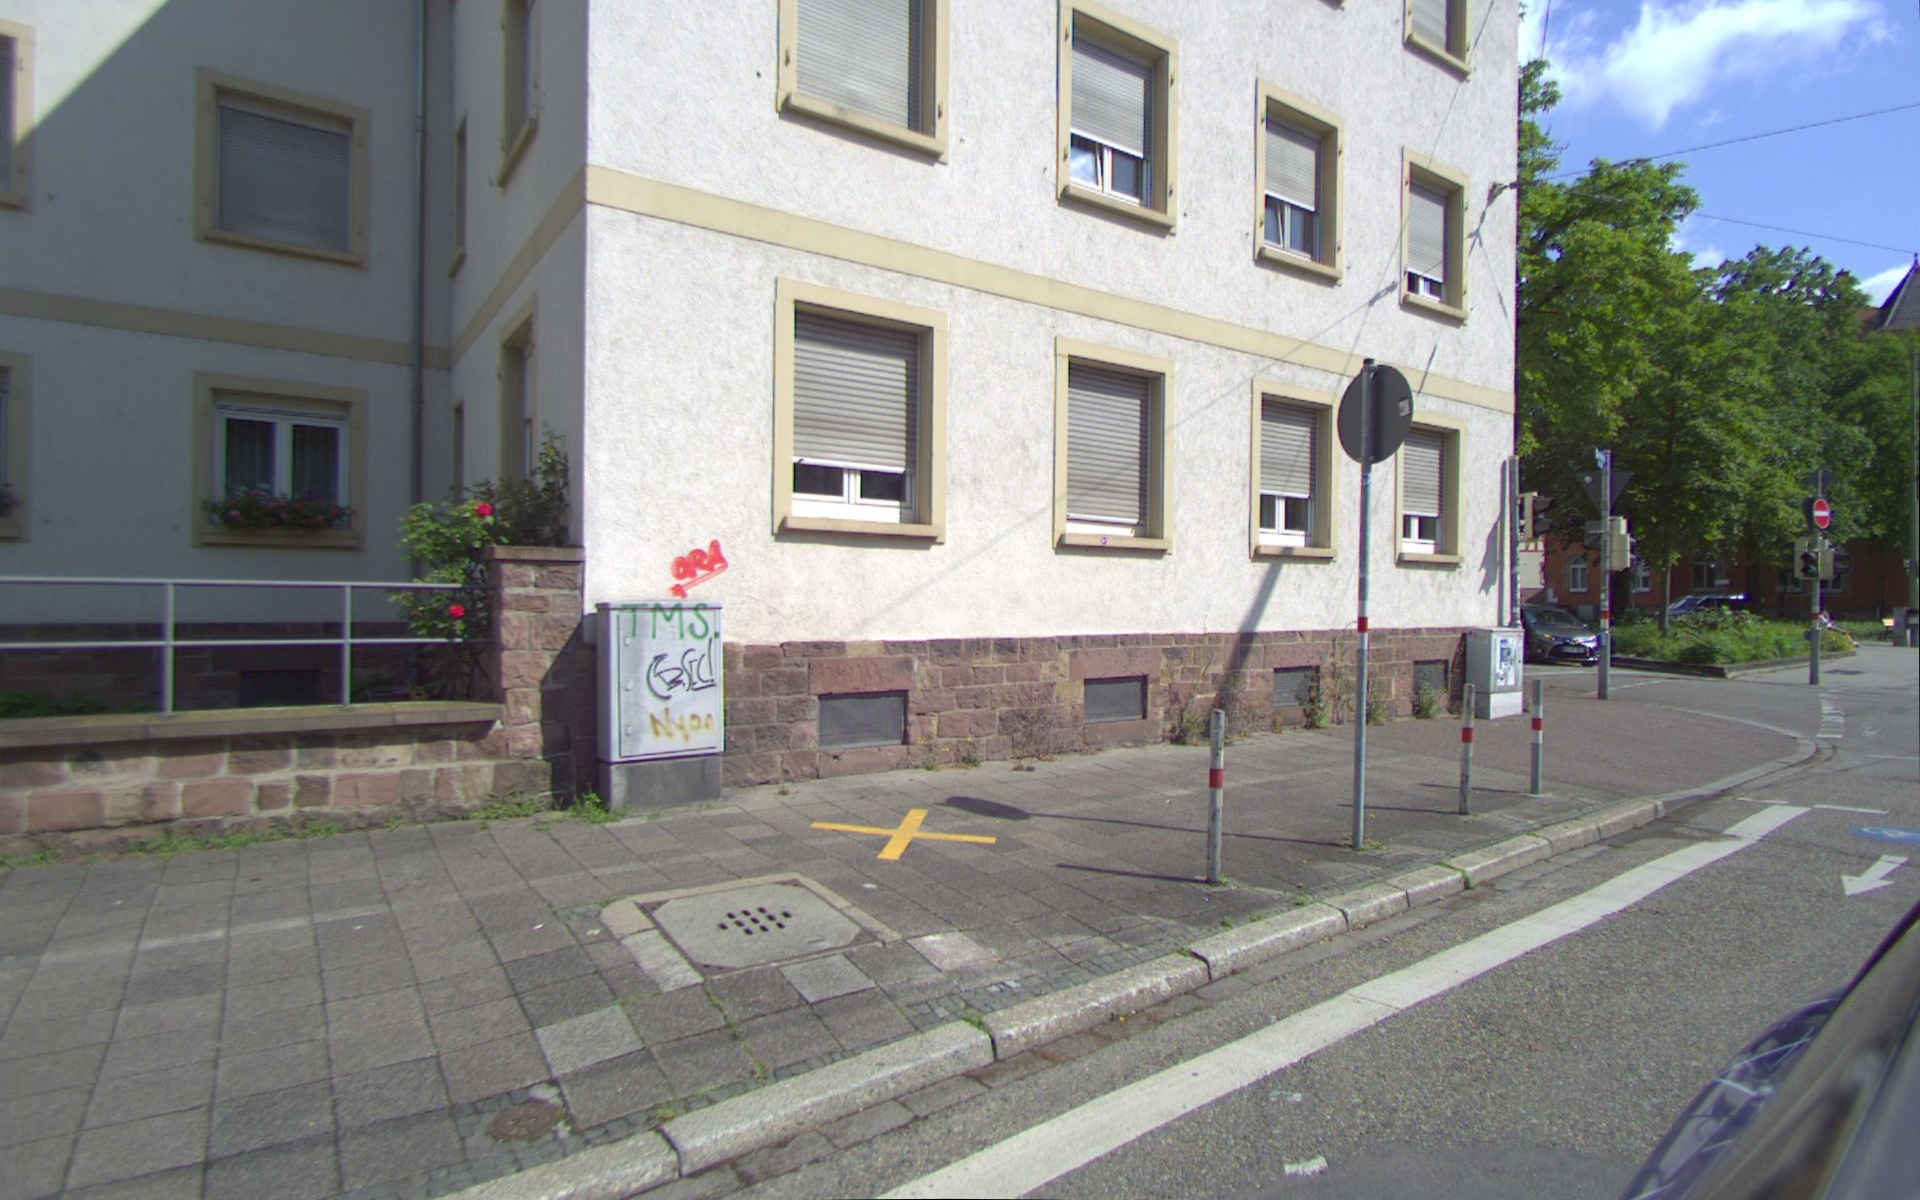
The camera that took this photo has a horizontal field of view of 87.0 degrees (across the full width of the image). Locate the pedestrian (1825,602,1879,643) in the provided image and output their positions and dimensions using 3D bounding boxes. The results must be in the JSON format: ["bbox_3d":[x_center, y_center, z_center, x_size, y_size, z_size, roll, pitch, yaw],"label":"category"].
[{"bbox_3d":[28.688,0.729,32.568,0.891,1.217,1.159,1,3,-42],"label":"pedestrian"}]

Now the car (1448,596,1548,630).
[{"bbox_3d":[26.433,0.658,49.793,1.621,1.572,3.994,1,-2,-39],"label":"car"}]

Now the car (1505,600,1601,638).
[{"bbox_3d":[37.818,1.161,64.729,2.236,2.298,5.244,1,0,-15],"label":"car"}]

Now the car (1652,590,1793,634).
[{"bbox_3d":[36.968,0.584,49.153,5.185,2.039,2.285,1,0,-2],"label":"car"}]

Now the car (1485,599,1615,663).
[{"bbox_3d":[15.529,0.770,26.864,1.602,1.509,3.723,2,0,7],"label":"car"}]
